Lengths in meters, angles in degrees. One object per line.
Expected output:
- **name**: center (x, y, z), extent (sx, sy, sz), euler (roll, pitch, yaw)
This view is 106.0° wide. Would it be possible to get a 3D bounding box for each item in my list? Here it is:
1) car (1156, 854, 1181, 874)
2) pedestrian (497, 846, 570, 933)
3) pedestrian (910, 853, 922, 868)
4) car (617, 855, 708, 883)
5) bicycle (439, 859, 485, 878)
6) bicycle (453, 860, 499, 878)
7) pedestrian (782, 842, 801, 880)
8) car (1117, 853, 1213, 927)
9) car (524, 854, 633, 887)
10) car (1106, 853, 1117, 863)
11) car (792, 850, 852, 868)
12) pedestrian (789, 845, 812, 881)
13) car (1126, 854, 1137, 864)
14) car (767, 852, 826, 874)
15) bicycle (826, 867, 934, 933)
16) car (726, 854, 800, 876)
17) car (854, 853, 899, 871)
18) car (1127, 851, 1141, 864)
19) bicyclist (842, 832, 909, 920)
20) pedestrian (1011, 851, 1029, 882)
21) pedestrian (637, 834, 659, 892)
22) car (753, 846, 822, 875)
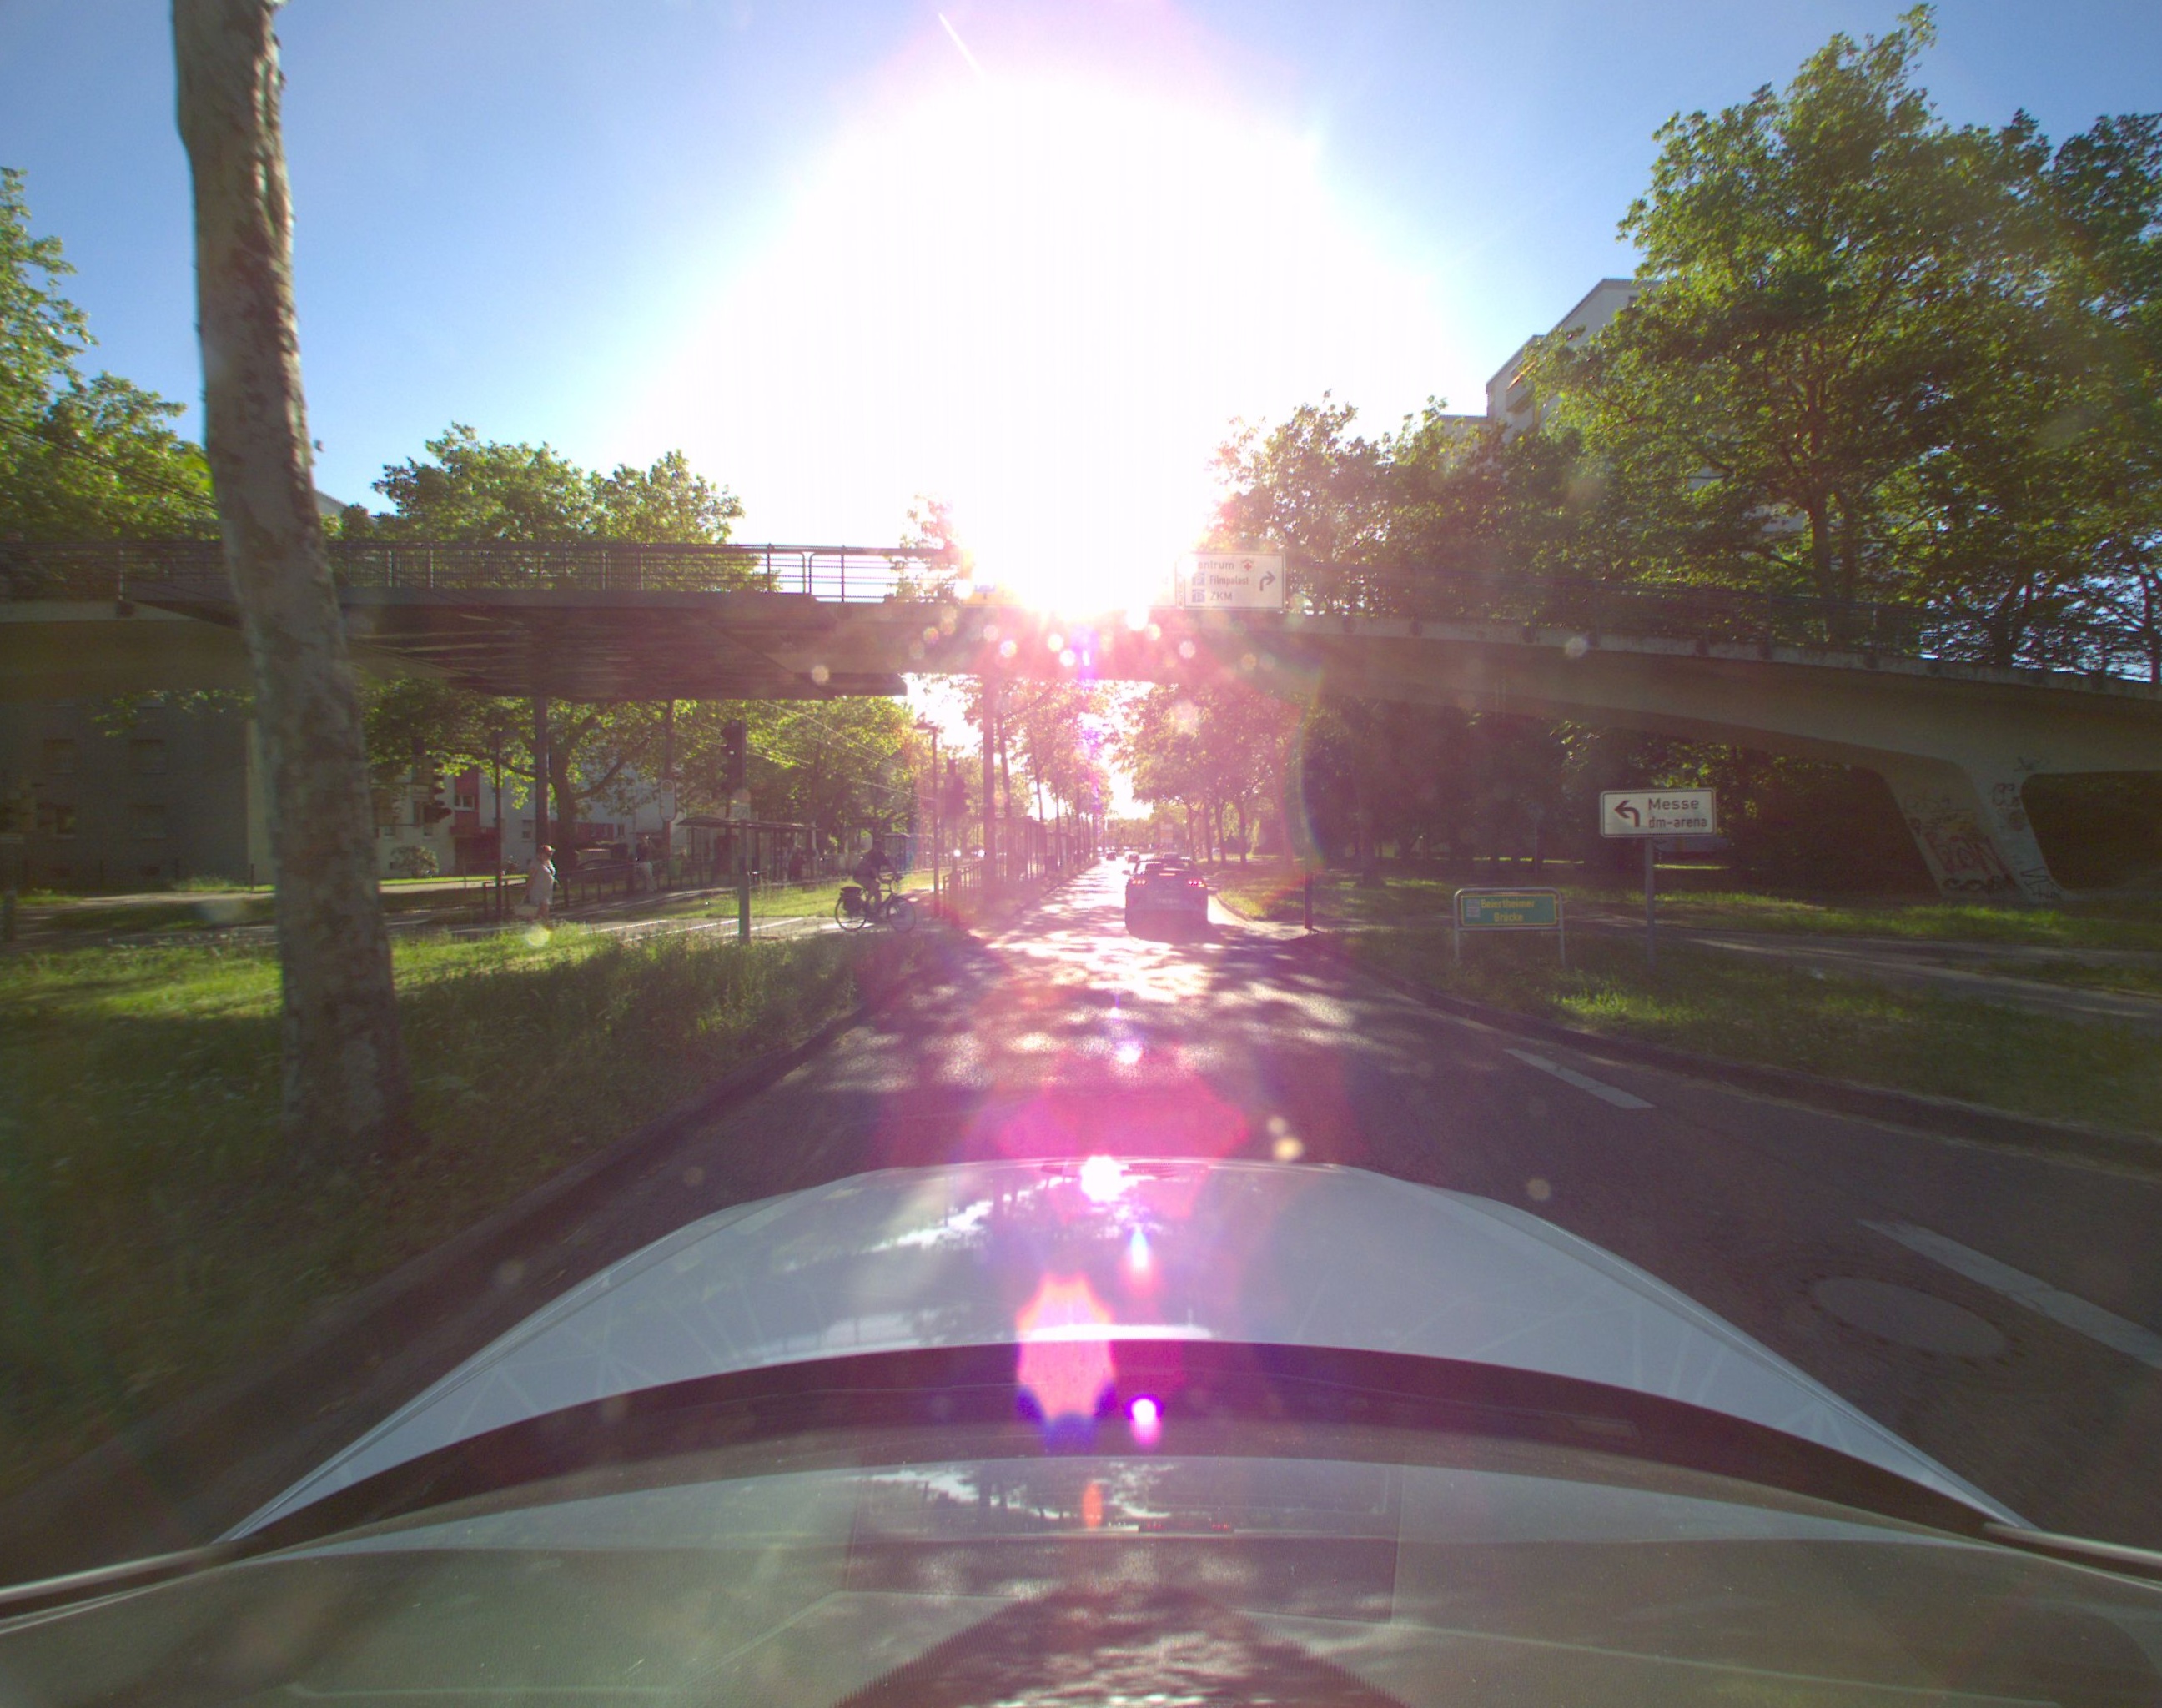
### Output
- **car**: center (8.013, 0.914, 75.135), extent (1.974, 1.792, 4.616), euler (1, 0, 2)
- **pedestrian**: center (-10.936, 0.694, 16.314), extent (0.723, 1.674, 1.048), euler (1, -1, -2)
- **pedestrian**: center (-12.471, 0.508, 61.718), extent (0.692, 1.127, 0.662), euler (-3, -1, 3)
- **car**: center (-23.078, 0.811, 44.972), extent (4.219, 1.428, 1.681), euler (1, 1, -37)
- **bicycle**: center (-35.212, 0.809, 46.347), extent (0.693, 0.928, 2.594), euler (1, 1, -1)
- **bicycle**: center (-34.377, 0.822, 46.327), extent (0.693, 0.928, 2.594), euler (1, 1, -1)
- **pedestrian**: center (-12.926, 0.316, 36.375), extent (0.714, 1.634, 0.728), euler (-1, -1, -13)
- **car**: center (1.811, 0.738, 18.785), extent (1.770, 1.483, 4.099), euler (1, 0, 0)
- **car**: center (-23.585, 0.769, 38.301), extent (4.219, 1.428, 1.681), euler (1, 1, -37)
- **car**: center (4.841, 0.671, 128.203), extent (1.704, 1.603, 3.350), euler (0, 0, 1)
- **car**: center (-22.262, 0.412, 70.092), extent (1.876, 1.504, 4.527), euler (1, 1, 43)
- **pedestrian**: center (-12.170, 0.380, 35.319), extent (0.638, 1.514, 0.686), euler (-2, 0, 10)
- **car**: center (8.079, 0.766, 130.521), extent (1.671, 1.475, 4.134), euler (1, 0, 3)
- **car**: center (-22.260, 0.678, 63.828), extent (4.082, 1.610, 1.669), euler (0, 1, -42)
- **bicycle**: center (-3.892, 0.866, 15.826), extent (1.818, 1.147, 0.818), euler (2, 1, 13)
- **car**: center (-22.458, 0.774, 57.616), extent (4.523, 1.497, 1.878), euler (1, 1, -40)
- **car**: center (-19.747, 0.738, 78.722), extent (1.556, 1.568, 4.084), euler (3, 2, 43)
- **car**: center (6.587, 0.404, 101.289), extent (1.633, 1.494, 3.504), euler (1, 1, 1)
- **bicyclist**: center (-3.977, 0.414, 15.823), extent (0.947, 1.632, 0.818), euler (2, 1, 13)
- **pedestrian**: center (-2.488, 0.501, 33.340), extent (0.732, 1.252, 0.587), euler (1, -1, -4)
- **pedestrian**: center (-13.597, 0.280, 25.561), extent (0.506, 1.770, 0.478), euler (1, -1, -39)
- **car**: center (-22.005, 0.515, 61.082), extent (4.520, 2.063, 1.879), euler (1, 1, -37)
